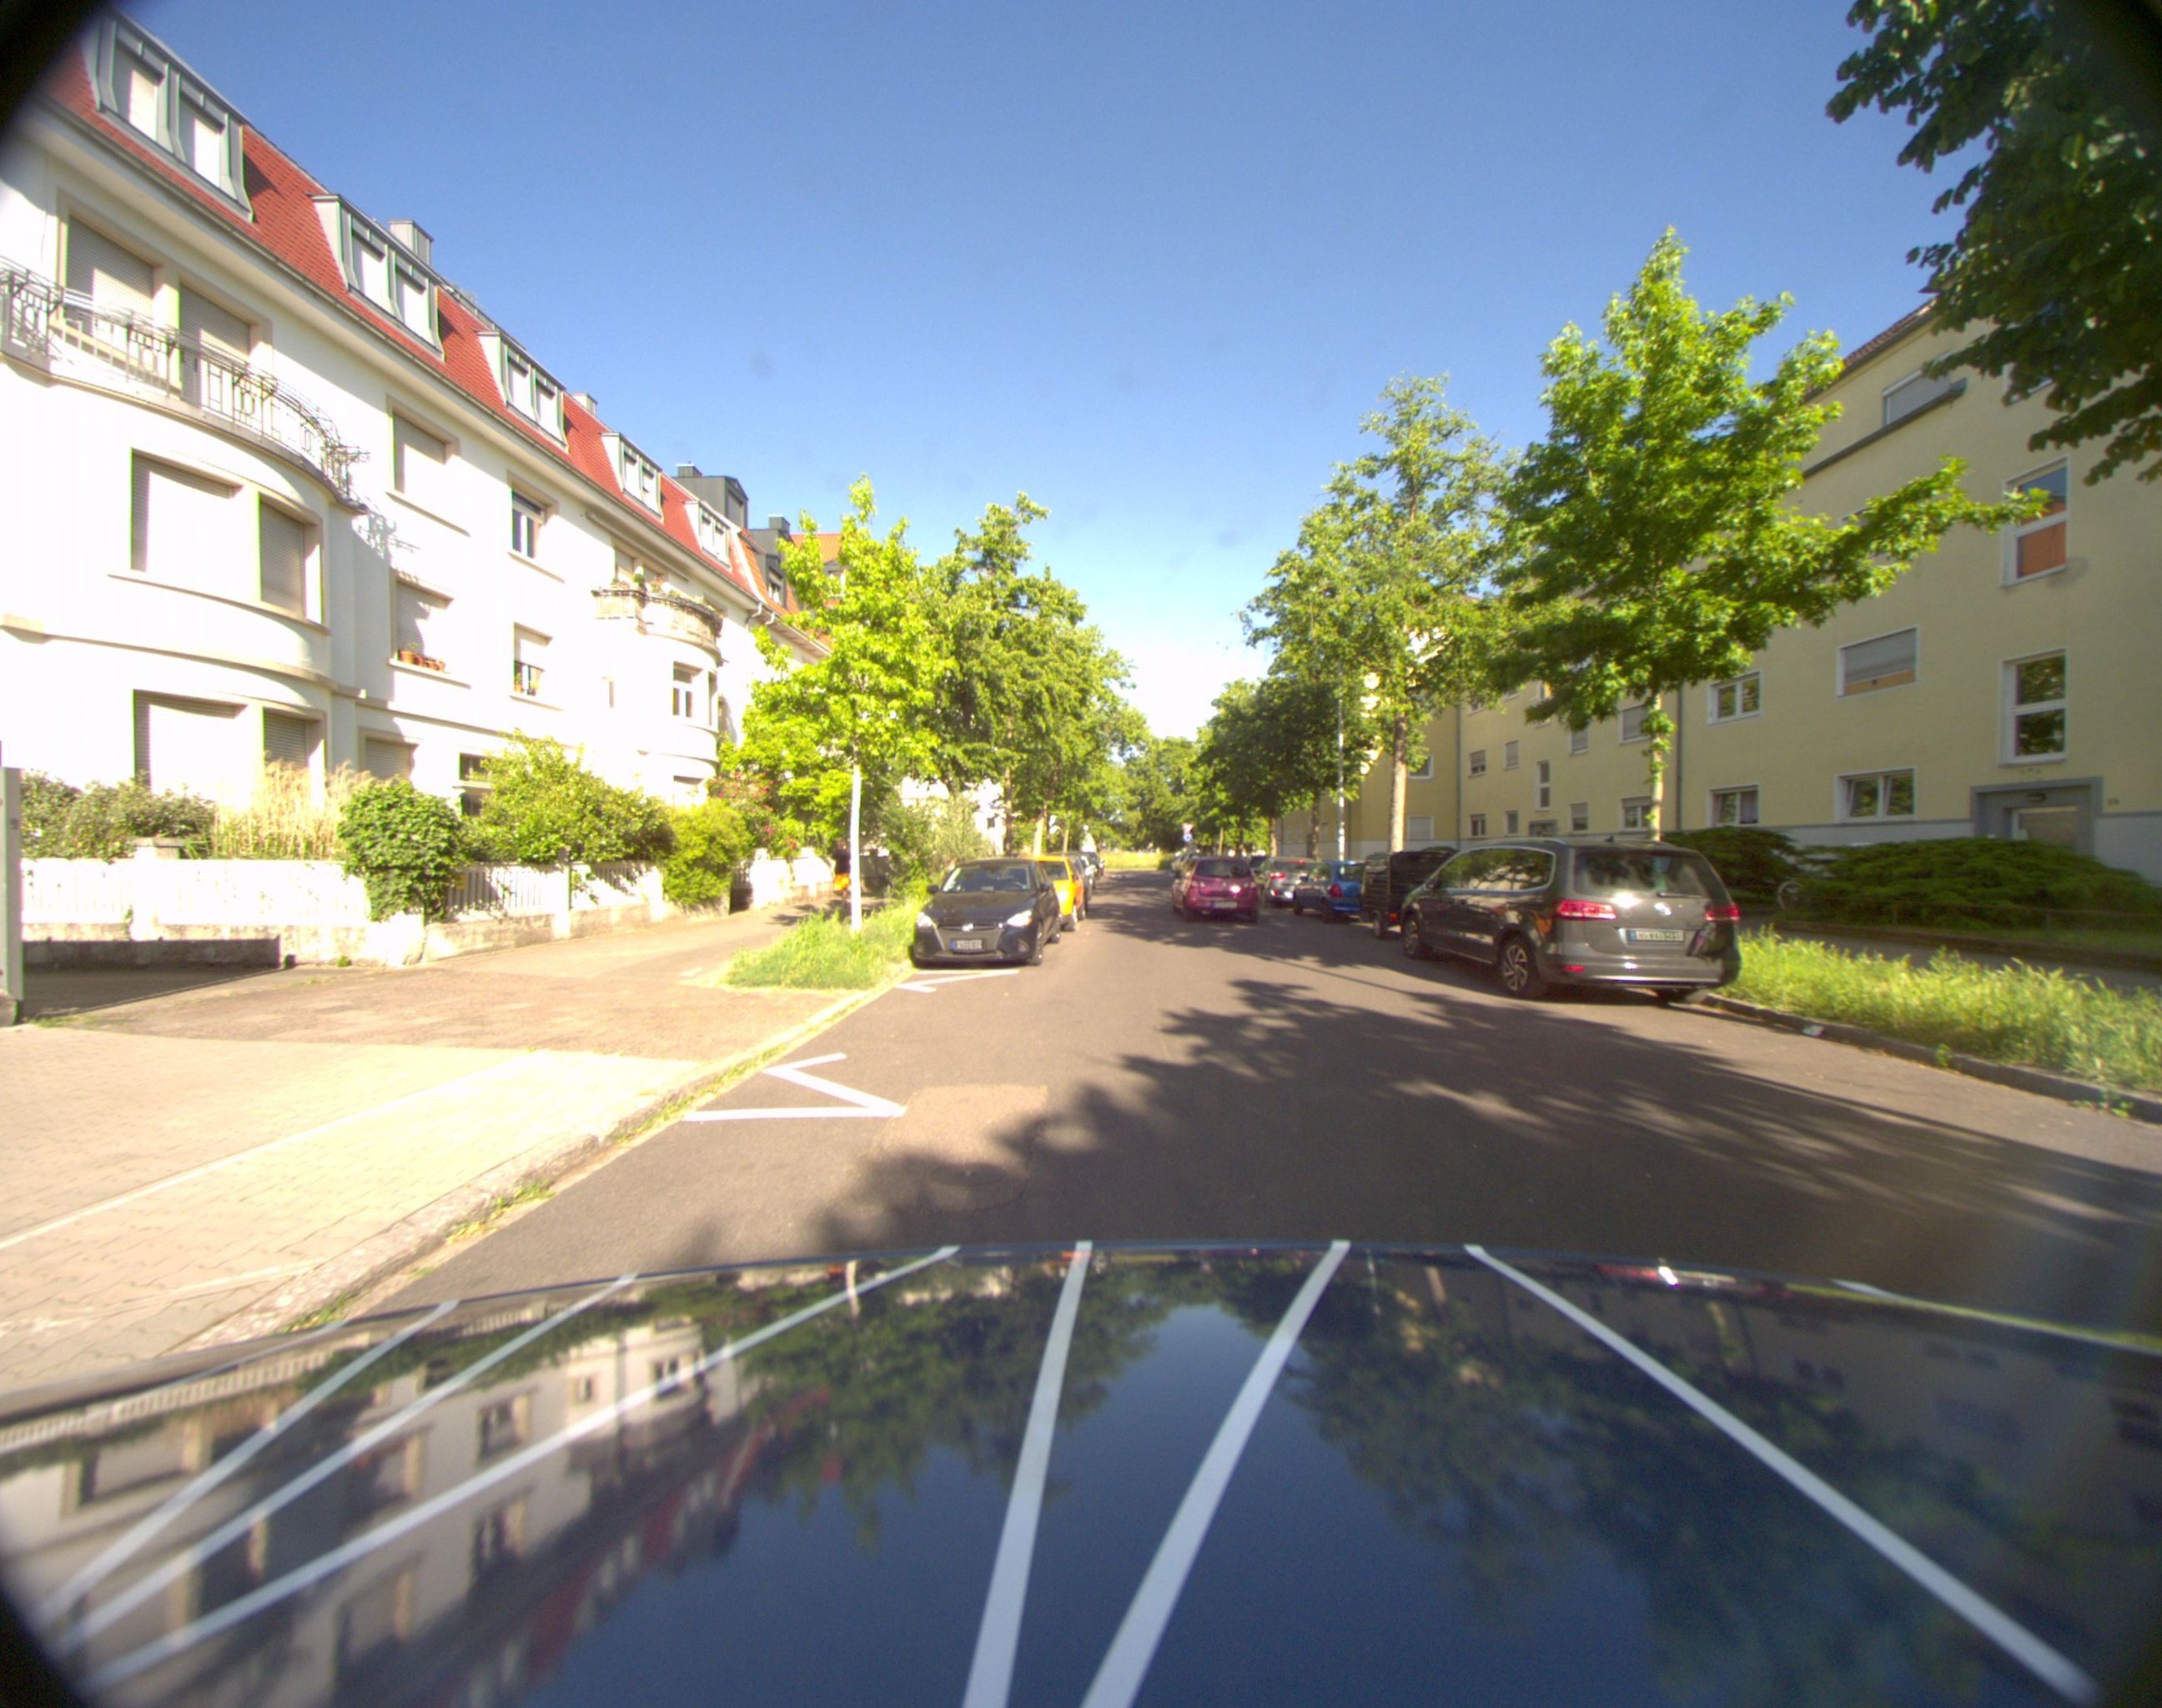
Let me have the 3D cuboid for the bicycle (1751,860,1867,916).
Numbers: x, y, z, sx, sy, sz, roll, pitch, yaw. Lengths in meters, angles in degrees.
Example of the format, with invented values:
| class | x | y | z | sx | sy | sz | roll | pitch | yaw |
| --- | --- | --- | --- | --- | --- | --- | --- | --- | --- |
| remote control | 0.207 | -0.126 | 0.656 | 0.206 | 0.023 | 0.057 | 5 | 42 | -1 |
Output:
| class | x | y | z | sx | sy | sz | roll | pitch | yaw |
| --- | --- | --- | --- | --- | --- | --- | --- | --- | --- |
| bicycle | 15.246 | 0.710 | 15.933 | 1.843 | 1.075 | 0.487 | -2 | 2 | 6 |

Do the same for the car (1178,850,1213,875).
| class | x | y | z | sx | sy | sz | roll | pitch | yaw |
| --- | --- | --- | --- | --- | --- | --- | --- | --- | --- |
| car | 7.402 | 0.544 | 49.442 | 1.695 | 1.556 | 4.735 | 0 | 0 | 1 |

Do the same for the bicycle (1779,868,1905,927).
| class | x | y | z | sx | sy | sz | roll | pitch | yaw |
| --- | --- | --- | --- | --- | --- | --- | --- | --- | --- |
| bicycle | 14.100 | 0.796 | 14.094 | 1.844 | 1.075 | 0.486 | 0 | 1 | 0 |

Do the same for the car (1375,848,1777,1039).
| class | x | y | z | sx | sy | sz | roll | pitch | yaw |
| --- | --- | --- | --- | --- | --- | --- | --- | --- | --- |
| car | 5.497 | 0.808 | 9.468 | 1.853 | 1.671 | 4.977 | 2 | 0 | 2 |

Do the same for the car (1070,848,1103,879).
| class | x | y | z | sx | sy | sz | roll | pitch | yaw |
| --- | --- | --- | --- | --- | --- | --- | --- | --- | --- |
| car | 0.378 | 0.528 | 44.848 | 1.785 | 1.688 | 4.298 | 0 | 0 | 2 |

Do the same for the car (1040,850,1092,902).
| class | x | y | z | sx | sy | sz | roll | pitch | yaw |
| --- | --- | --- | --- | --- | --- | --- | --- | --- | --- |
| car | -0.481 | 0.707 | 26.366 | 1.653 | 1.646 | 3.846 | 0 | 0 | 0 |

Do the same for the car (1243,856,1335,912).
| class | x | y | z | sx | sy | sz | roll | pitch | yaw |
| --- | --- | --- | --- | --- | --- | --- | --- | --- | --- |
| car | 6.148 | 0.820 | 22.957 | 1.795 | 1.436 | 4.689 | 2 | 0 | 4 |

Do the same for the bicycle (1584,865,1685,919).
| class | x | y | z | sx | sy | sz | roll | pitch | yaw |
| --- | --- | --- | --- | --- | --- | --- | --- | --- | --- |
| bicycle | 12.239 | 0.806 | 16.867 | 0.487 | 1.075 | 1.842 | -3 | 2 | -21 |

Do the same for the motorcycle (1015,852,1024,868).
| class | x | y | z | sx | sy | sz | roll | pitch | yaw |
| --- | --- | --- | --- | --- | --- | --- | --- | --- | --- |
| motorcycle | -4.751 | 0.456 | 59.058 | 0.658 | 1.272 | 1.799 | 2 | 1 | -4 |

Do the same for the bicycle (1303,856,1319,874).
| class | x | y | z | sx | sy | sz | roll | pitch | yaw |
| --- | --- | --- | --- | --- | --- | --- | --- | --- | --- |
| bicycle | 13.898 | 0.656 | 45.887 | 0.537 | 1.021 | 1.748 | 0 | 0 | 4 |

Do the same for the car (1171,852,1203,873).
| class | x | y | z | sx | sy | sz | roll | pitch | yaw |
| --- | --- | --- | --- | --- | --- | --- | --- | --- | --- |
| car | 7.752 | 0.585 | 55.855 | 1.764 | 1.434 | 3.994 | 0 | 0 | 0 |

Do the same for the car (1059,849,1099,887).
| class | x | y | z | sx | sy | sz | roll | pitch | yaw |
| --- | --- | --- | --- | --- | --- | --- | --- | --- | --- |
| car | -0.046 | 0.612 | 35.596 | 1.688 | 1.579 | 4.535 | -2 | 0 | 1 |

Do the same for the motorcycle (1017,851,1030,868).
| class | x | y | z | sx | sy | sz | roll | pitch | yaw |
| --- | --- | --- | --- | --- | --- | --- | --- | --- | --- |
| motorcycle | -4.577 | 0.428 | 60.923 | 0.973 | 1.321 | 1.852 | 0 | 1 | -2 |

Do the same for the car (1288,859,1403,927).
| class | x | y | z | sx | sy | sz | roll | pitch | yaw |
| --- | --- | --- | --- | --- | --- | --- | --- | --- | --- |
| car | 6.151 | 0.846 | 18.106 | 1.524 | 1.387 | 3.727 | 0 | 0 | 1 |

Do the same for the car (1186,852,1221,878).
| class | x | y | z | sx | sy | sz | roll | pitch | yaw |
| --- | --- | --- | --- | --- | --- | --- | --- | --- | --- |
| car | 7.195 | 0.616 | 44.863 | 1.668 | 1.477 | 3.256 | 0 | 0 | 3 |

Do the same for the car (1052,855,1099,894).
| class | x | y | z | sx | sy | sz | roll | pitch | yaw |
| --- | --- | --- | --- | --- | --- | --- | --- | --- | --- |
| car | -0.156 | 0.774 | 31.001 | 1.633 | 1.417 | 4.368 | 1 | 0 | 3 |

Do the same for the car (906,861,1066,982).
| class | x | y | z | sx | sy | sz | roll | pitch | yaw |
| --- | --- | --- | --- | --- | --- | --- | --- | --- | --- |
| car | -1.252 | 0.868 | 11.637 | 1.704 | 1.440 | 4.083 | 1 | 0 | 3 |

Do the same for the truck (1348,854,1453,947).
| class | x | y | z | sx | sy | sz | roll | pitch | yaw |
| --- | --- | --- | --- | --- | --- | --- | --- | --- | --- |
| truck | 5.842 | 0.789 | 14.089 | 1.086 | 1.568 | 2.432 | 0 | 0 | 5 |

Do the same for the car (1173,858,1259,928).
| class | x | y | z | sx | sy | sz | roll | pitch | yaw |
| --- | --- | --- | --- | --- | --- | --- | --- | --- | --- |
| car | 3.045 | 0.835 | 17.651 | 1.509 | 1.418 | 3.178 | 1 | 0 | 2 |

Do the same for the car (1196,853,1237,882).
| class | x | y | z | sx | sy | sz | roll | pitch | yaw |
| --- | --- | --- | --- | --- | --- | --- | --- | --- | --- |
| car | 7.084 | 0.677 | 39.963 | 1.668 | 1.450 | 3.933 | 0 | 0 | 3 |

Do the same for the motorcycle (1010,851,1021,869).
| class | x | y | z | sx | sy | sz | roll | pitch | yaw |
| --- | --- | --- | --- | --- | --- | --- | --- | --- | --- |
| motorcycle | -4.903 | 0.425 | 56.701 | 0.540 | 1.353 | 2.089 | 0 | 1 | 3 |

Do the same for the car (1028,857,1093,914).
| class | x | y | z | sx | sy | sz | roll | pitch | yaw |
| --- | --- | --- | --- | --- | --- | --- | --- | --- | --- |
| car | -0.498 | 0.817 | 21.241 | 1.653 | 1.420 | 3.612 | 1 | 0 | 1 |

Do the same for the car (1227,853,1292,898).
| class | x | y | z | sx | sy | sz | roll | pitch | yaw |
| --- | --- | --- | --- | --- | --- | --- | --- | --- | --- |
| car | 6.619 | 0.745 | 28.555 | 1.624 | 1.507 | 4.270 | 2 | 1 | 4 |

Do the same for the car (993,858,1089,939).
| class | x | y | z | sx | sy | sz | roll | pitch | yaw |
| --- | --- | --- | --- | --- | --- | --- | --- | --- | --- |
| car | -0.728 | 0.840 | 16.183 | 1.640 | 1.446 | 4.100 | 0 | 0 | 3 |

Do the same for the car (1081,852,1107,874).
| class | x | y | z | sx | sy | sz | roll | pitch | yaw |
| --- | --- | --- | --- | --- | --- | --- | --- | --- | --- |
| car | 0.867 | 0.589 | 51.936 | 1.615 | 1.401 | 4.350 | 0 | 0 | -1 |

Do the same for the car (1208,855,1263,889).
| class | x | y | z | sx | sy | sz | roll | pitch | yaw |
| --- | --- | --- | --- | --- | --- | --- | --- | --- | --- |
| car | 6.911 | 0.751 | 34.488 | 1.749 | 1.361 | 4.675 | 1 | 0 | 3 |

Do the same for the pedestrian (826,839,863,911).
| class | x | y | z | sx | sy | sz | roll | pitch | yaw |
| --- | --- | --- | --- | --- | --- | --- | --- | --- | --- |
| pedestrian | -5.889 | 0.515 | 18.950 | 0.623 | 1.764 | 0.800 | 1 | 1 | 3 |

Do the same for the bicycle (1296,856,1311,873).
| class | x | y | z | sx | sy | sz | roll | pitch | yaw |
| --- | --- | --- | --- | --- | --- | --- | --- | --- | --- |
| bicycle | 13.985 | 0.651 | 47.818 | 0.541 | 1.021 | 1.748 | 0 | 0 | 4 |
